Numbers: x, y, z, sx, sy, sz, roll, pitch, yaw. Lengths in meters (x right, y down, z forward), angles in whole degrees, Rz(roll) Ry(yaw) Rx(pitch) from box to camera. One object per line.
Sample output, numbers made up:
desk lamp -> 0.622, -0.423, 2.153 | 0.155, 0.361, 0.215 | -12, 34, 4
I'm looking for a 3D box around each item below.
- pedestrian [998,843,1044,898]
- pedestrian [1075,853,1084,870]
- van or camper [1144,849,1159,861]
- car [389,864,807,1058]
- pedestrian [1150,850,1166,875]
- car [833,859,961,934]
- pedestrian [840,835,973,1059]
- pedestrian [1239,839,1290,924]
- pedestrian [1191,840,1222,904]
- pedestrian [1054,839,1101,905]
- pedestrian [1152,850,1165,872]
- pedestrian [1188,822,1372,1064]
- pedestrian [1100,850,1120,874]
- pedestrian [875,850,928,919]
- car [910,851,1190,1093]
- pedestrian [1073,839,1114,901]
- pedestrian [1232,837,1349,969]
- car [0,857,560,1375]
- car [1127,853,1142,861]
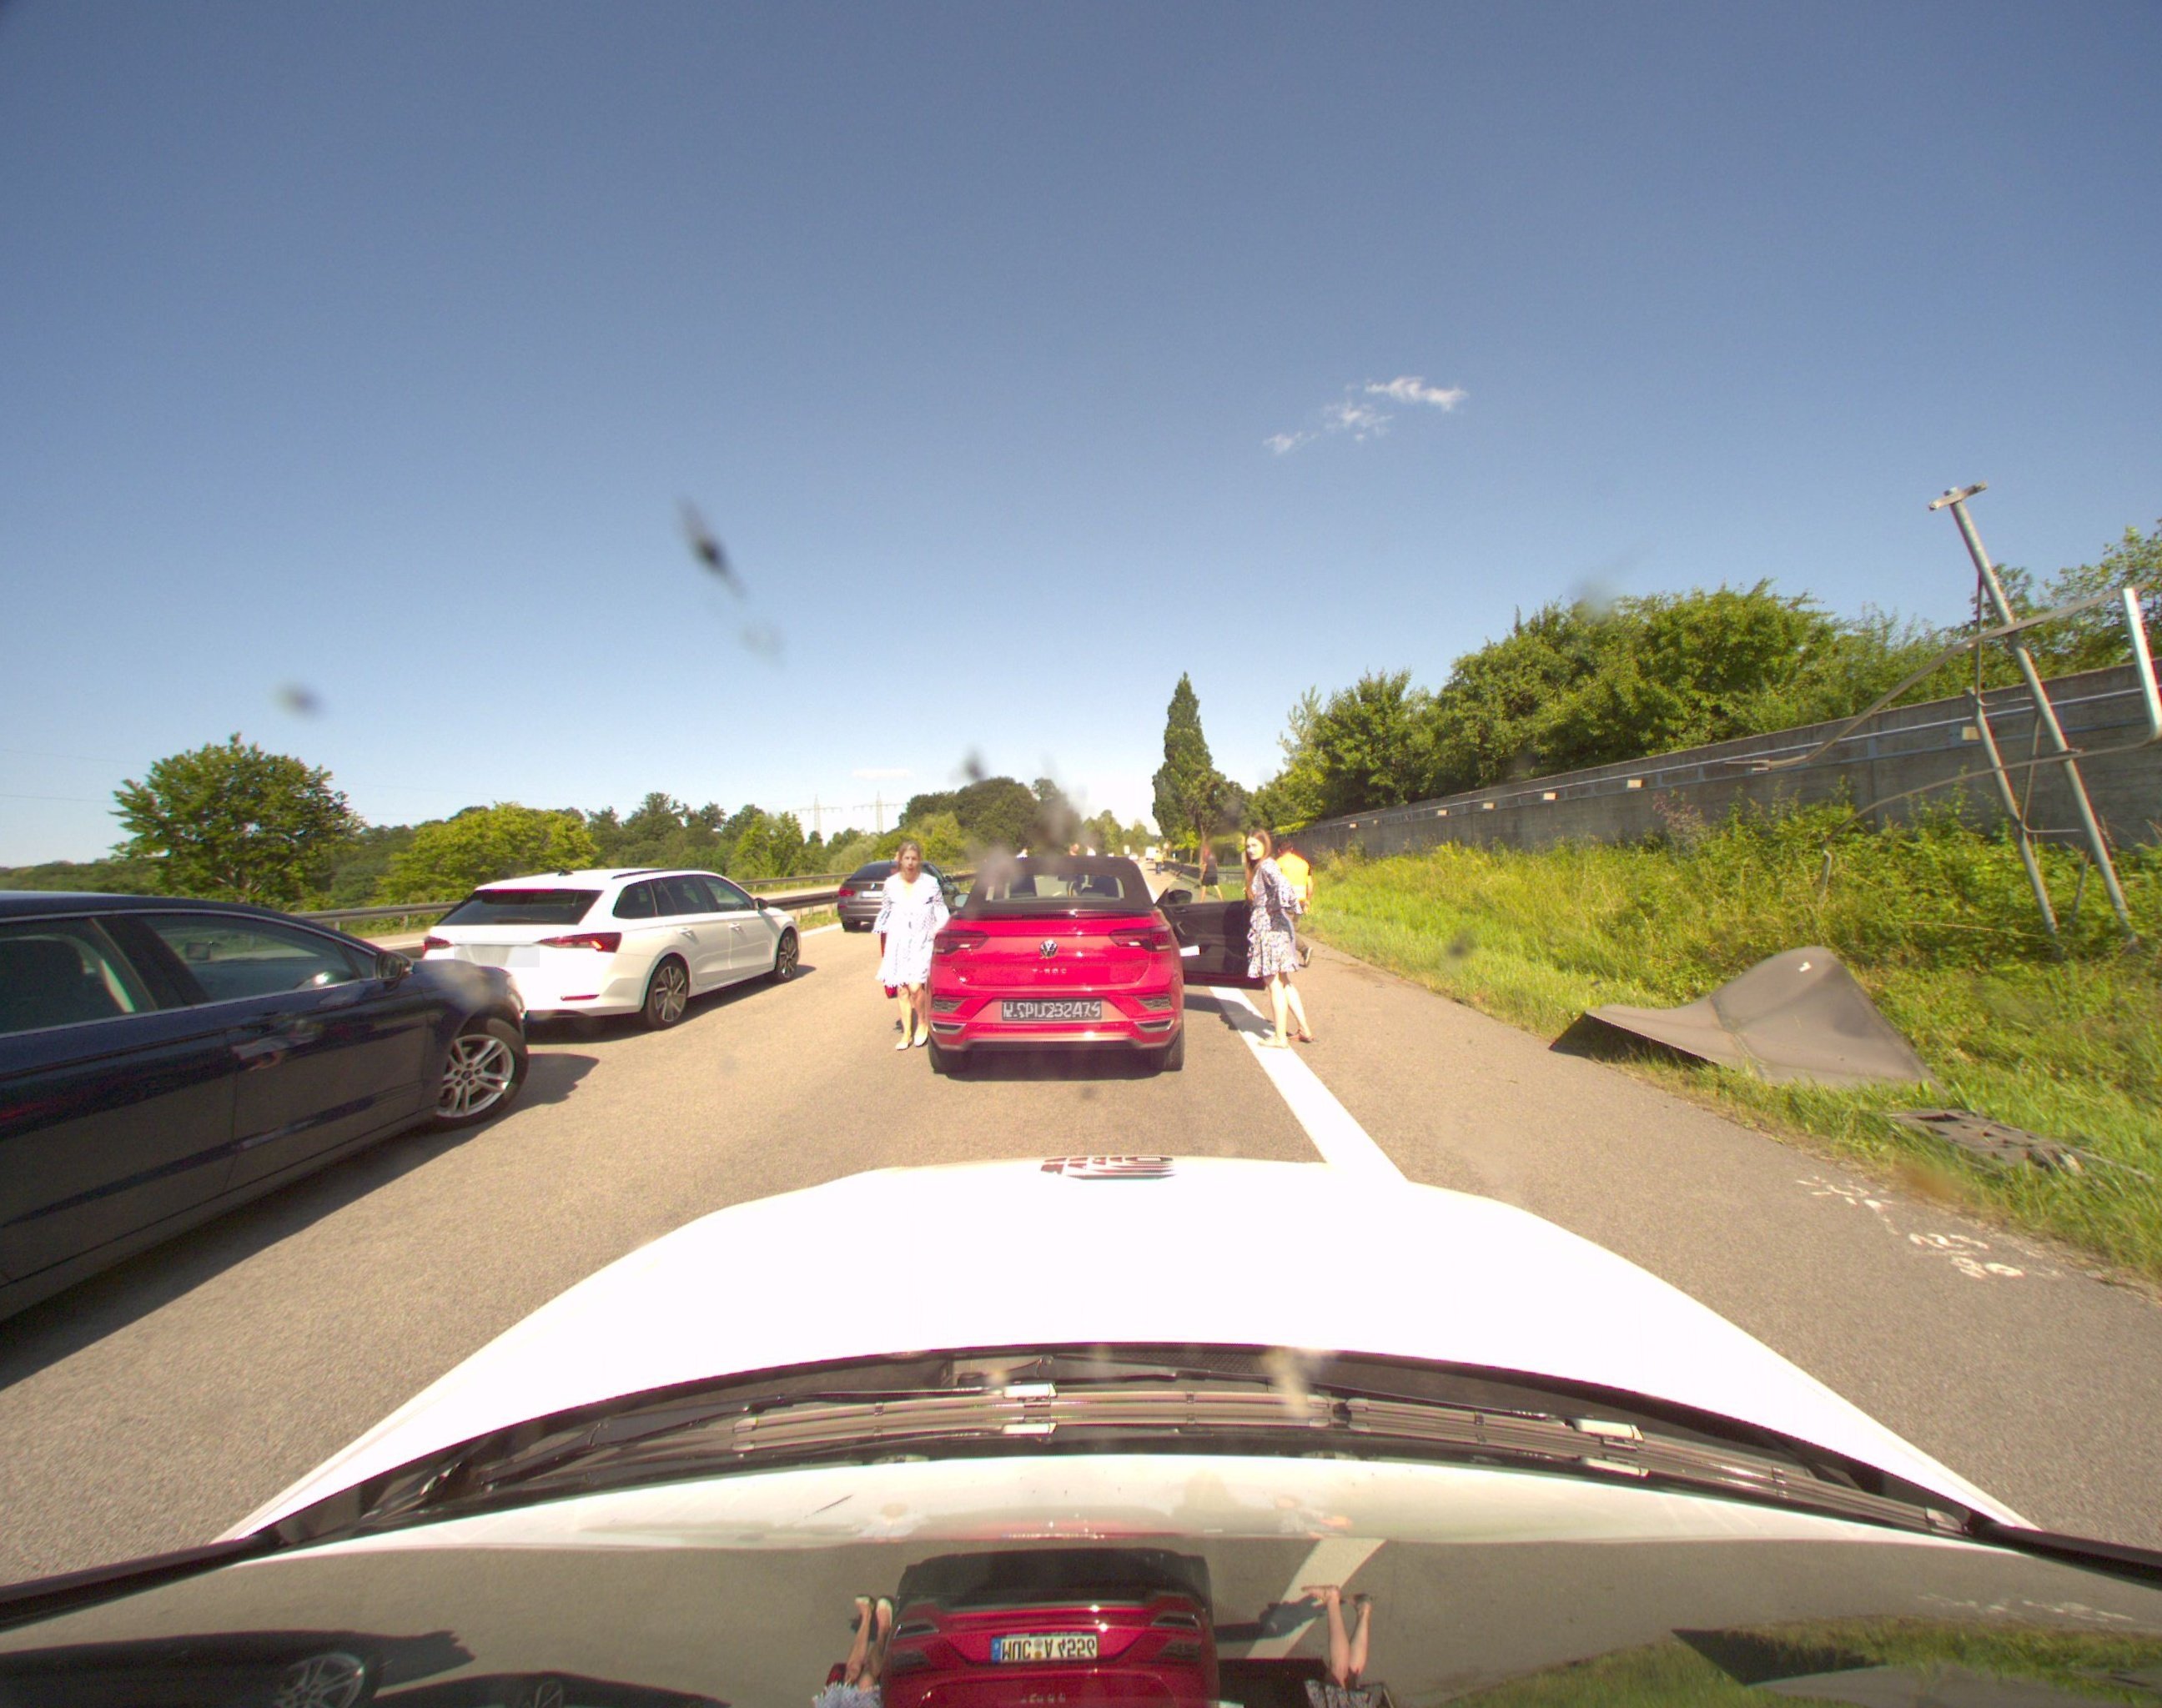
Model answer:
pedestrian -> -2.019, 0.548, 27.514 | 1.098, 1.789, 1.094 | 0, -1, -44
pedestrian -> -0.112, 0.716, 79.621 | 0.787, 1.689, 0.794 | -1, -1, 7
van or camper -> 13.751, 0.140, 158.921 | 1.977, 2.316, 4.492 | -1, -1, 19
car -> -4.494, 0.862, 8.475 | 1.688, 1.441, 4.213 | -1, 0, 2
pedestrian -> 5.424, 0.609, 57.060 | 1.050, 1.689, 1.020 | -1, -1, 9
car -> -3.959, 0.856, 18.263 | 1.688, 1.426, 4.336 | -1, 0, 2
pedestrian -> -1.384, 0.714, 6.598 | 0.836, 1.683, 0.744 | -2, 0, 1
pedestrian -> 3.778, 0.560, 16.845 | 0.891, 1.725, 0.755 | -1, -1, 2
pedestrian -> 3.515, 0.494, 22.838 | 0.806, 1.759, 0.830 | -1, -1, 10
pedestrian -> -0.094, 0.528, 24.170 | 1.057, 1.883, 1.098 | -2, 0, 16
pedestrian -> 6.233, 0.556, 65.282 | 0.991, 1.689, 1.012 | -1, -1, 5
pedestrian -> 1.500, 0.635, 6.324 | 1.122, 1.695, 0.892 | -2, 0, -3
pedestrian -> 2.083, 0.585, 58.789 | 1.104, 1.689, 0.978 | -1, -1, 22
pedestrian -> -4.844, 0.803, 22.081 | 1.036, 1.763, 1.120 | -2, 0, 5
car -> -0.107, 0.732, 7.180 | 1.726, 1.487, 4.213 | -1, 0, 2
pedestrian -> 0.388, 0.519, 26.395 | 1.104, 1.912, 1.255 | -2, 0, -6
pedestrian -> 2.842, 0.629, 11.173 | 0.960, 1.653, 1.270 | -2, 0, -18
car -> -4.095, 0.792, 2.964 | 1.785, 1.493, 4.484 | -2, 0, -5
car -> 10.549, 0.637, 160.292 | 1.718, 1.487, 4.230 | -1, 0, 19
